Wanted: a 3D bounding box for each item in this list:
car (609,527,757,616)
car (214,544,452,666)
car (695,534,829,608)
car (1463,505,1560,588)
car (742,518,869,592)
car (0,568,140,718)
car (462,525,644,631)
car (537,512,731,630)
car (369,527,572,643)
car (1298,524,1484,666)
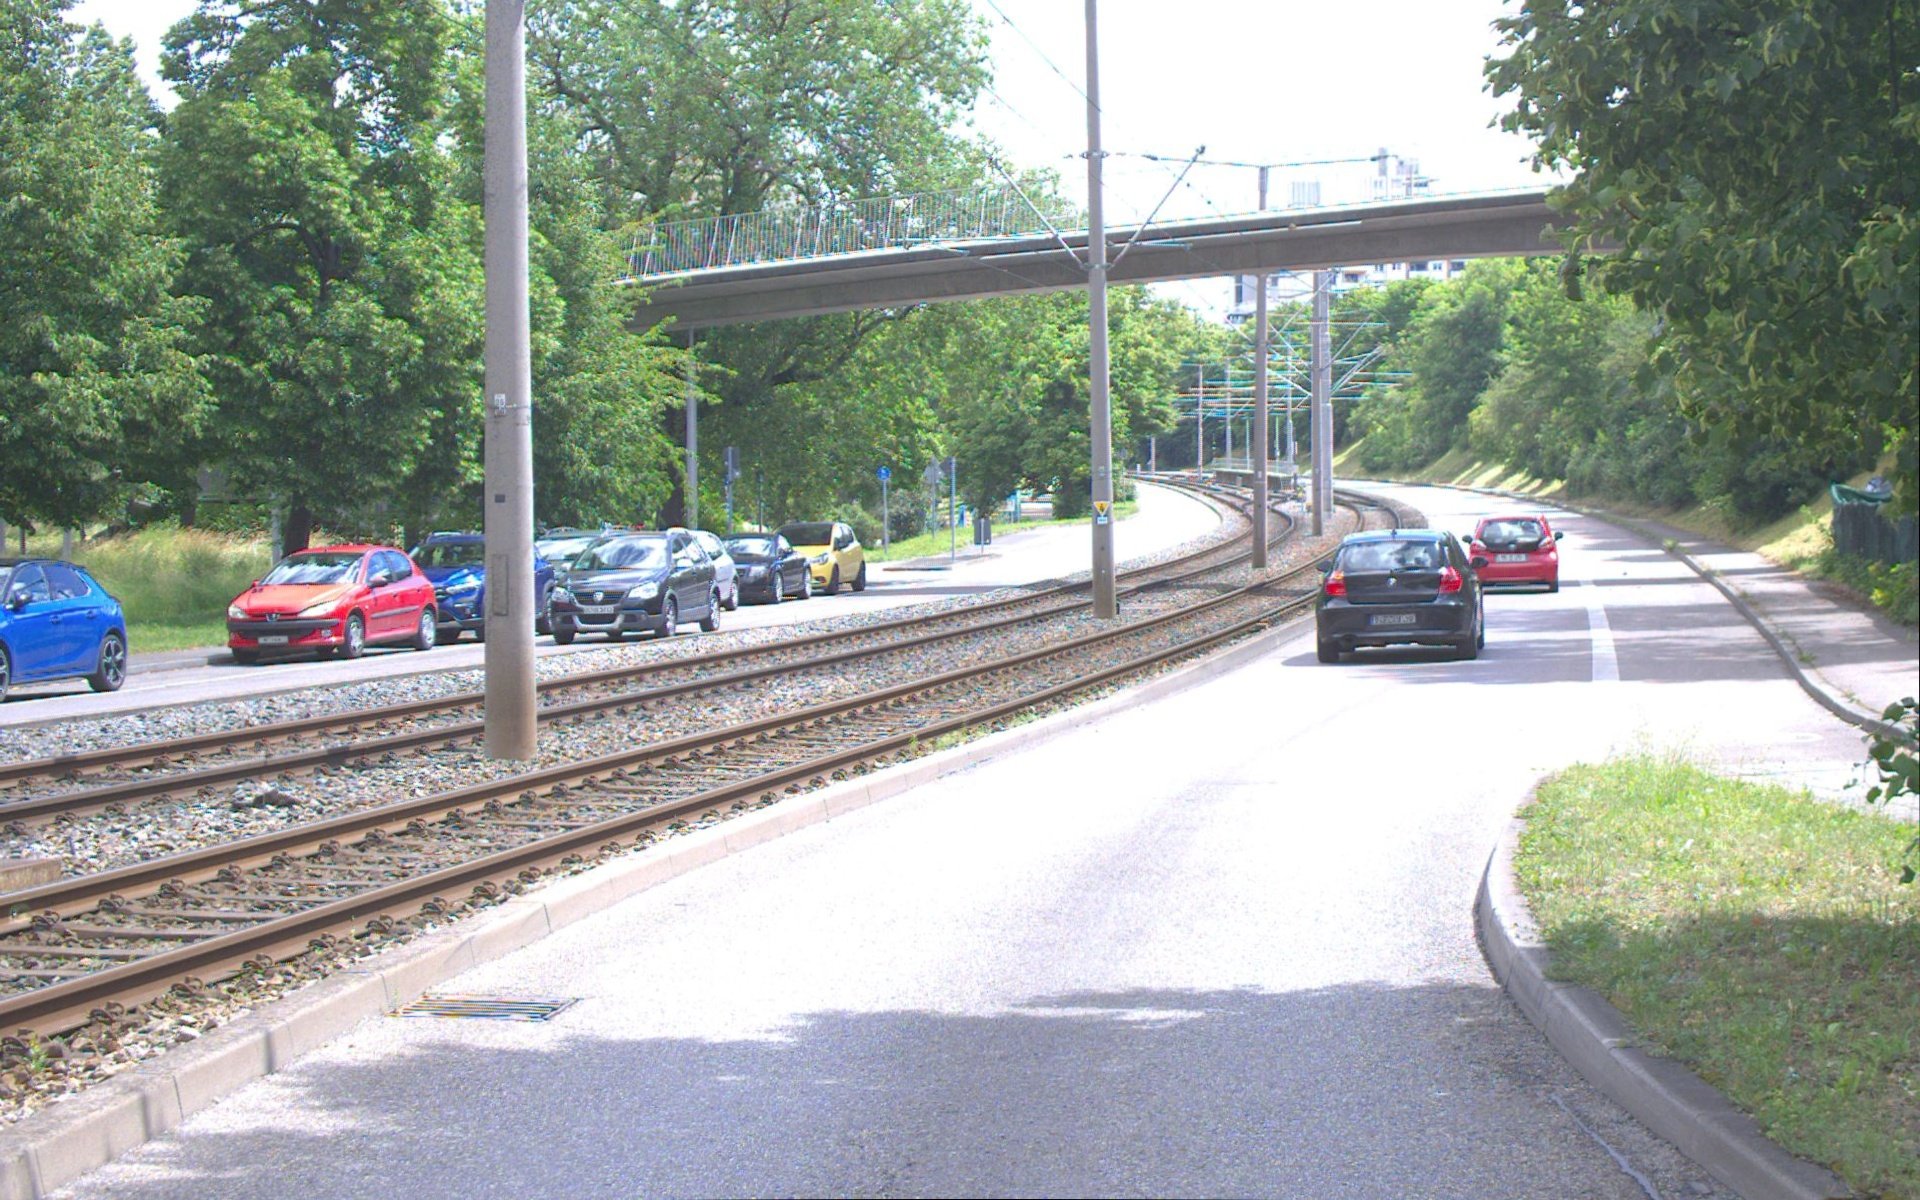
[{"bbox_3d":[-4.837,-0.529,60.534,1.594,1.488,4.191,1,1,10],"label":"car"},{"bbox_3d":[-8.081,0.069,44.640,1.614,1.489,4.045,1,0,12],"label":"car"},{"bbox_3d":[-3.758,-0.573,65.884,1.512,1.355,4.126,-1,1,12],"label":"car"},{"bbox_3d":[10.065,-0.956,62.618,1.625,1.438,3.420,1,0,11],"label":"car"},{"bbox_3d":[-3.144,-0.903,70.715,1.690,1.445,3.896,1,0,12],"label":"car"},{"bbox_3d":[-9.905,0.409,34.659,1.614,1.456,4.005,1,0,12],"label":"car"},{"bbox_3d":[-6.473,-0.368,55.089,1.643,1.617,4.123,-1,1,12],"label":"car"},{"bbox_3d":[-4.511,-0.395,48.134,1.614,1.568,3.998,1,0,11],"label":"car"},{"bbox_3d":[-7.022,-0.202,49.691,1.558,1.590,4.158,1,0,12],"label":"car"},{"bbox_3d":[4.821,-0.100,38.076,1.709,1.455,3.958,1,1,12],"label":"car"}]
